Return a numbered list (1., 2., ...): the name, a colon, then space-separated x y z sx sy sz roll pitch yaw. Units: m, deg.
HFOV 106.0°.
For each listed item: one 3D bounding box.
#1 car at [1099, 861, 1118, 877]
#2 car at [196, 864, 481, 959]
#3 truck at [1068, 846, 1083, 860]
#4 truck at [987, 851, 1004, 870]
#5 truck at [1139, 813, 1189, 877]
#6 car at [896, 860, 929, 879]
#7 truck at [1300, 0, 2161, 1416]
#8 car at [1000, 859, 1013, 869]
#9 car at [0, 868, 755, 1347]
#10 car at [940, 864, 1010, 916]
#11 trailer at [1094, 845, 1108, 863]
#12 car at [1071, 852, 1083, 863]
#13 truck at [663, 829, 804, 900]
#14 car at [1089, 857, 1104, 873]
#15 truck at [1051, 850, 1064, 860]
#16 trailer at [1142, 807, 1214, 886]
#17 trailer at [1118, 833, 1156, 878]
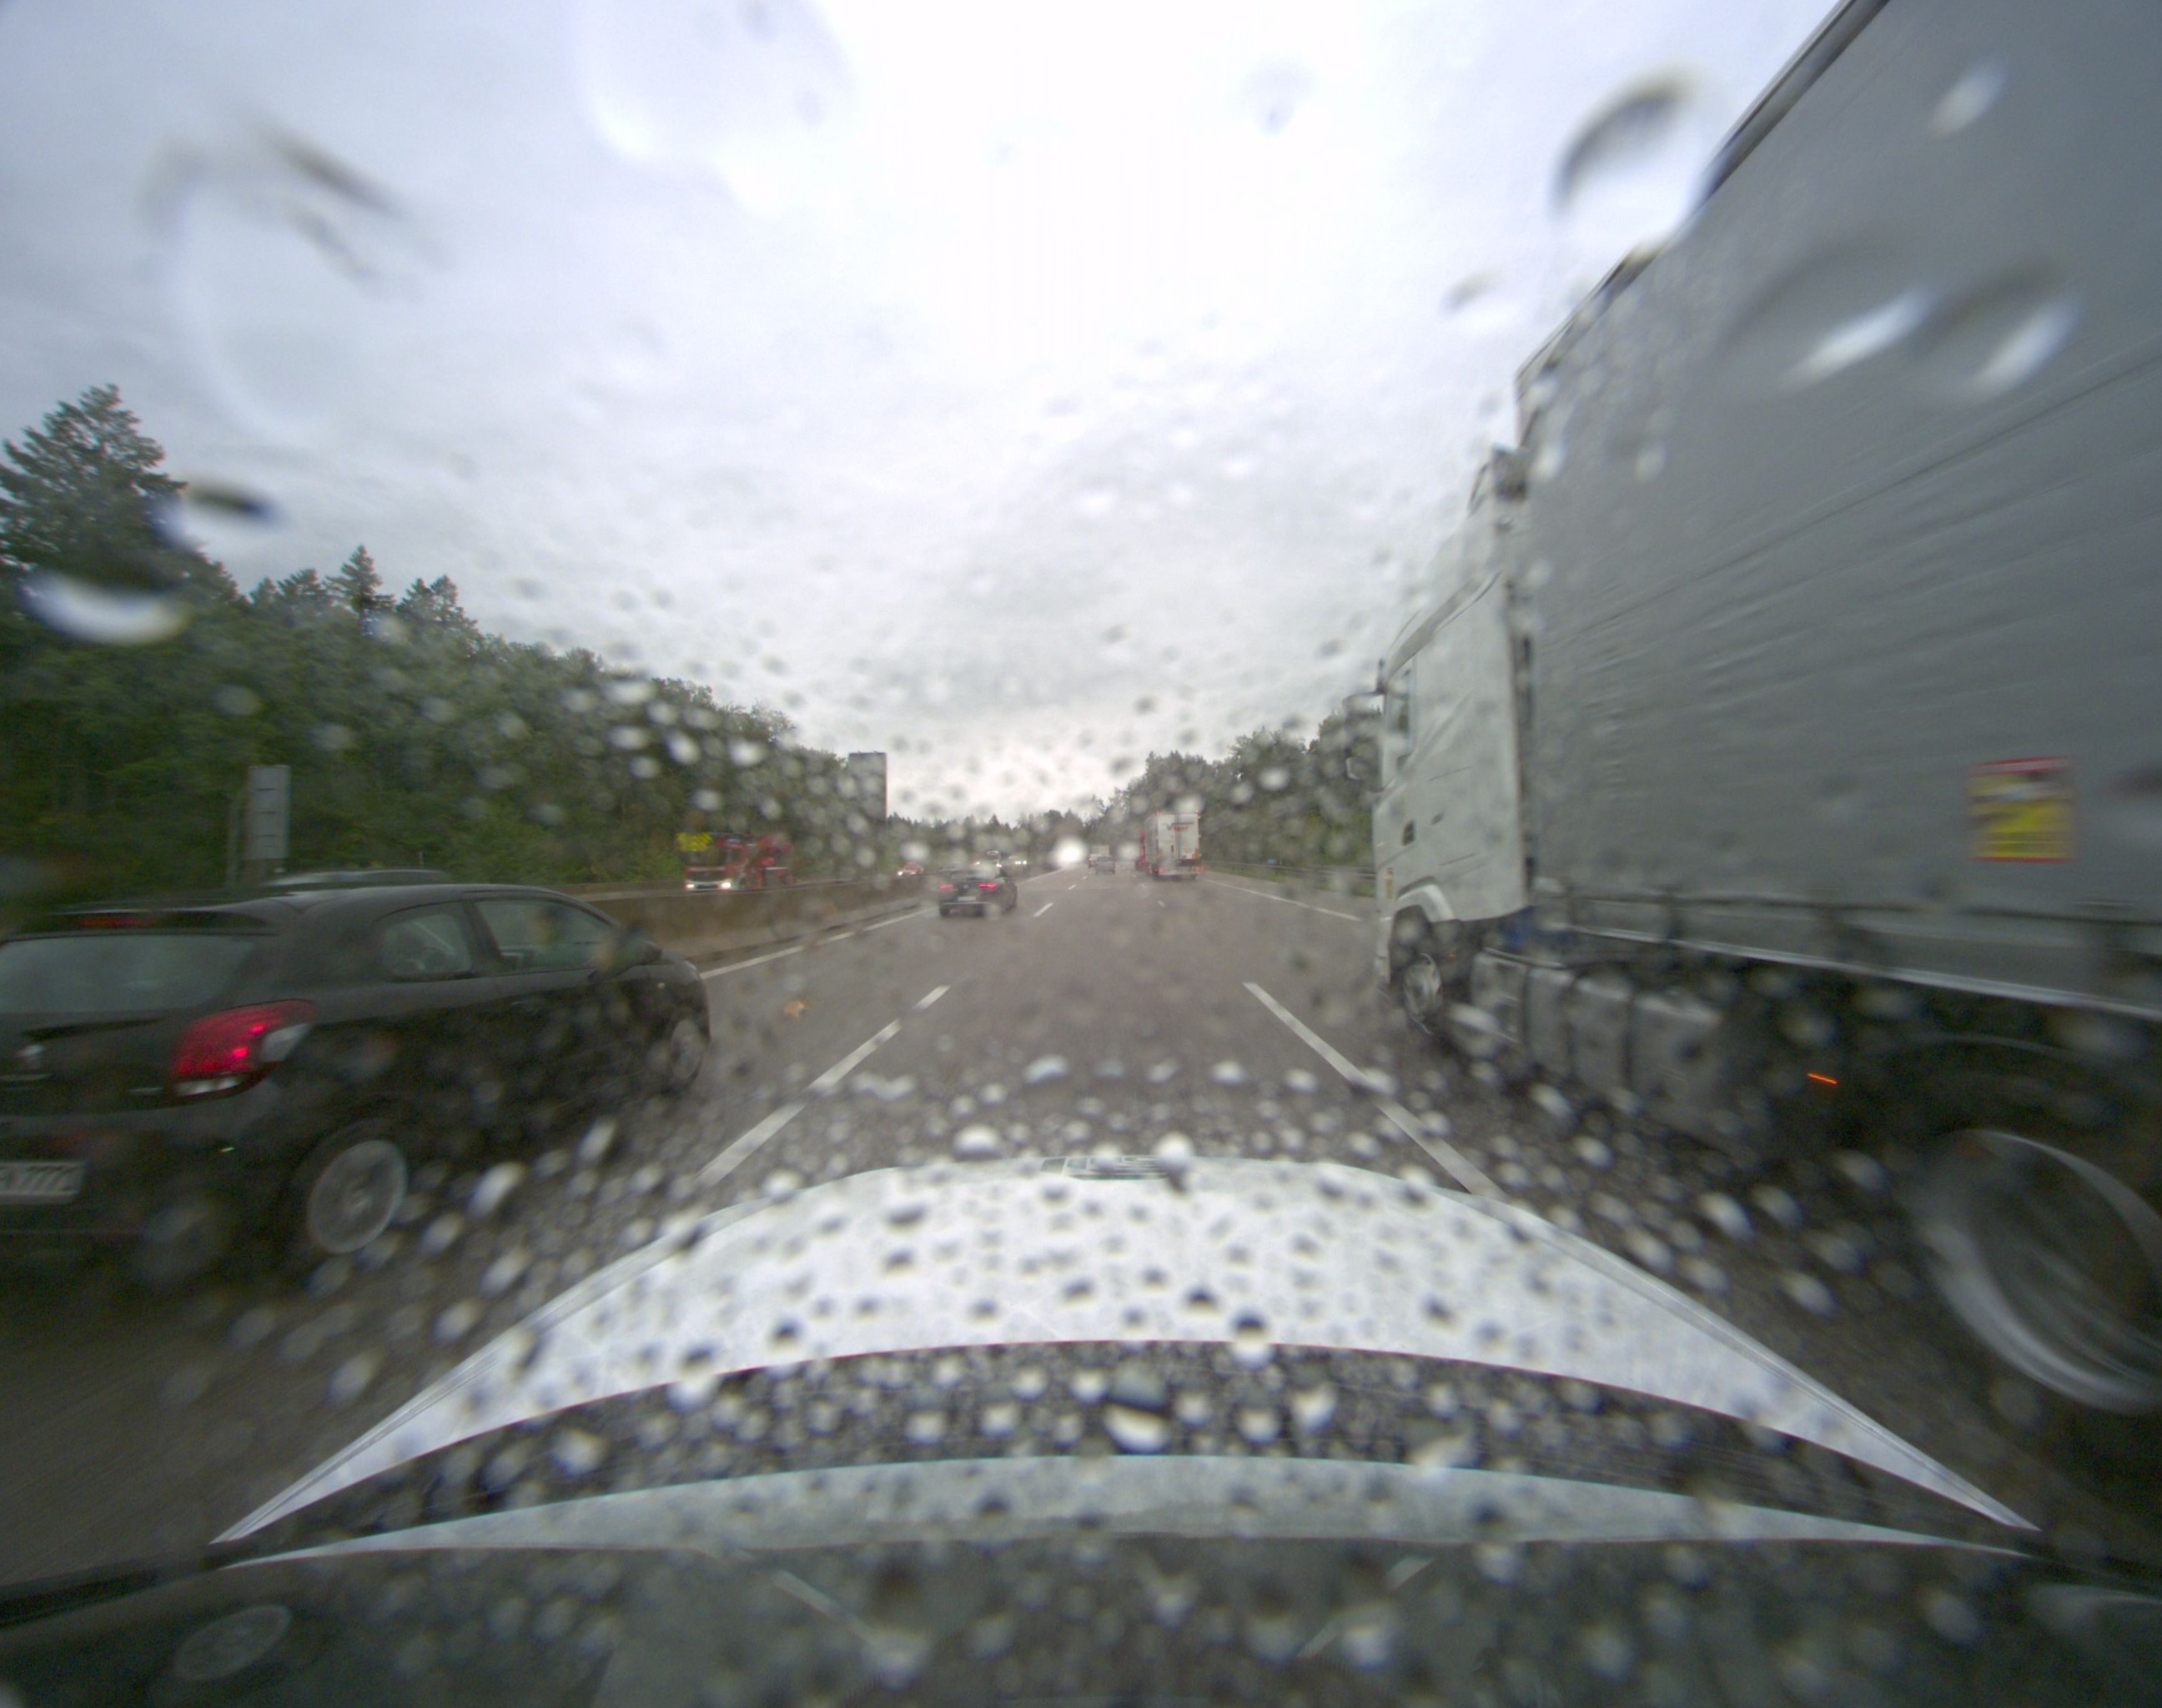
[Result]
1. car: 2.382 1.293 71.296 1.549 1.351 3.683 -1 0 0
2. car: -14.544 1.039 16.362 1.698 1.578 4.269 -1 0 2
3. truck: -1.691 -0.281 241.637 3.363 4.131 10.421 -2 0 -4
4. truck: -17.562 1.297 167.310 2.557 3.667 10.484 -2 0 -2
5. truck: 5.715 -0.598 56.918 2.789 4.103 5.969 -3 0 1
6. car: -16.638 1.523 80.612 1.986 1.699 4.976 -2 0 2
7. truck: 3.449 -0.589 5.001 2.711 4.041 5.754 -2 0 2
8. car: -12.211 1.638 133.437 1.602 1.554 4.644 -2 0 2
9. car: -3.389 0.846 4.446 1.678 1.462 3.684 -1 0 1
10. car: -3.051 1.003 24.057 1.548 1.351 3.684 -1 0 1
11. trailer: 4.588 -0.069 189.822 2.414 4.068 12.041 -2 1 -3
12. car: -0.769 0.709 159.482 1.989 2.059 3.995 -3 0 -3
13. truck: -17.787 0.488 42.735 2.423 3.174 10.667 -1 0 2
14. car: 2.072 1.456 109.518 1.722 2.013 3.651 -3 0 -4
15. truck: -7.081 0.255 243.879 3.081 2.905 7.881 -2 1 -8
16. trailer: 5.676 -0.406 50.137 2.725 4.103 13.682 -3 0 0
17. trailer: 5.442 0.143 81.102 2.364 3.953 12.513 -3 0 -1
